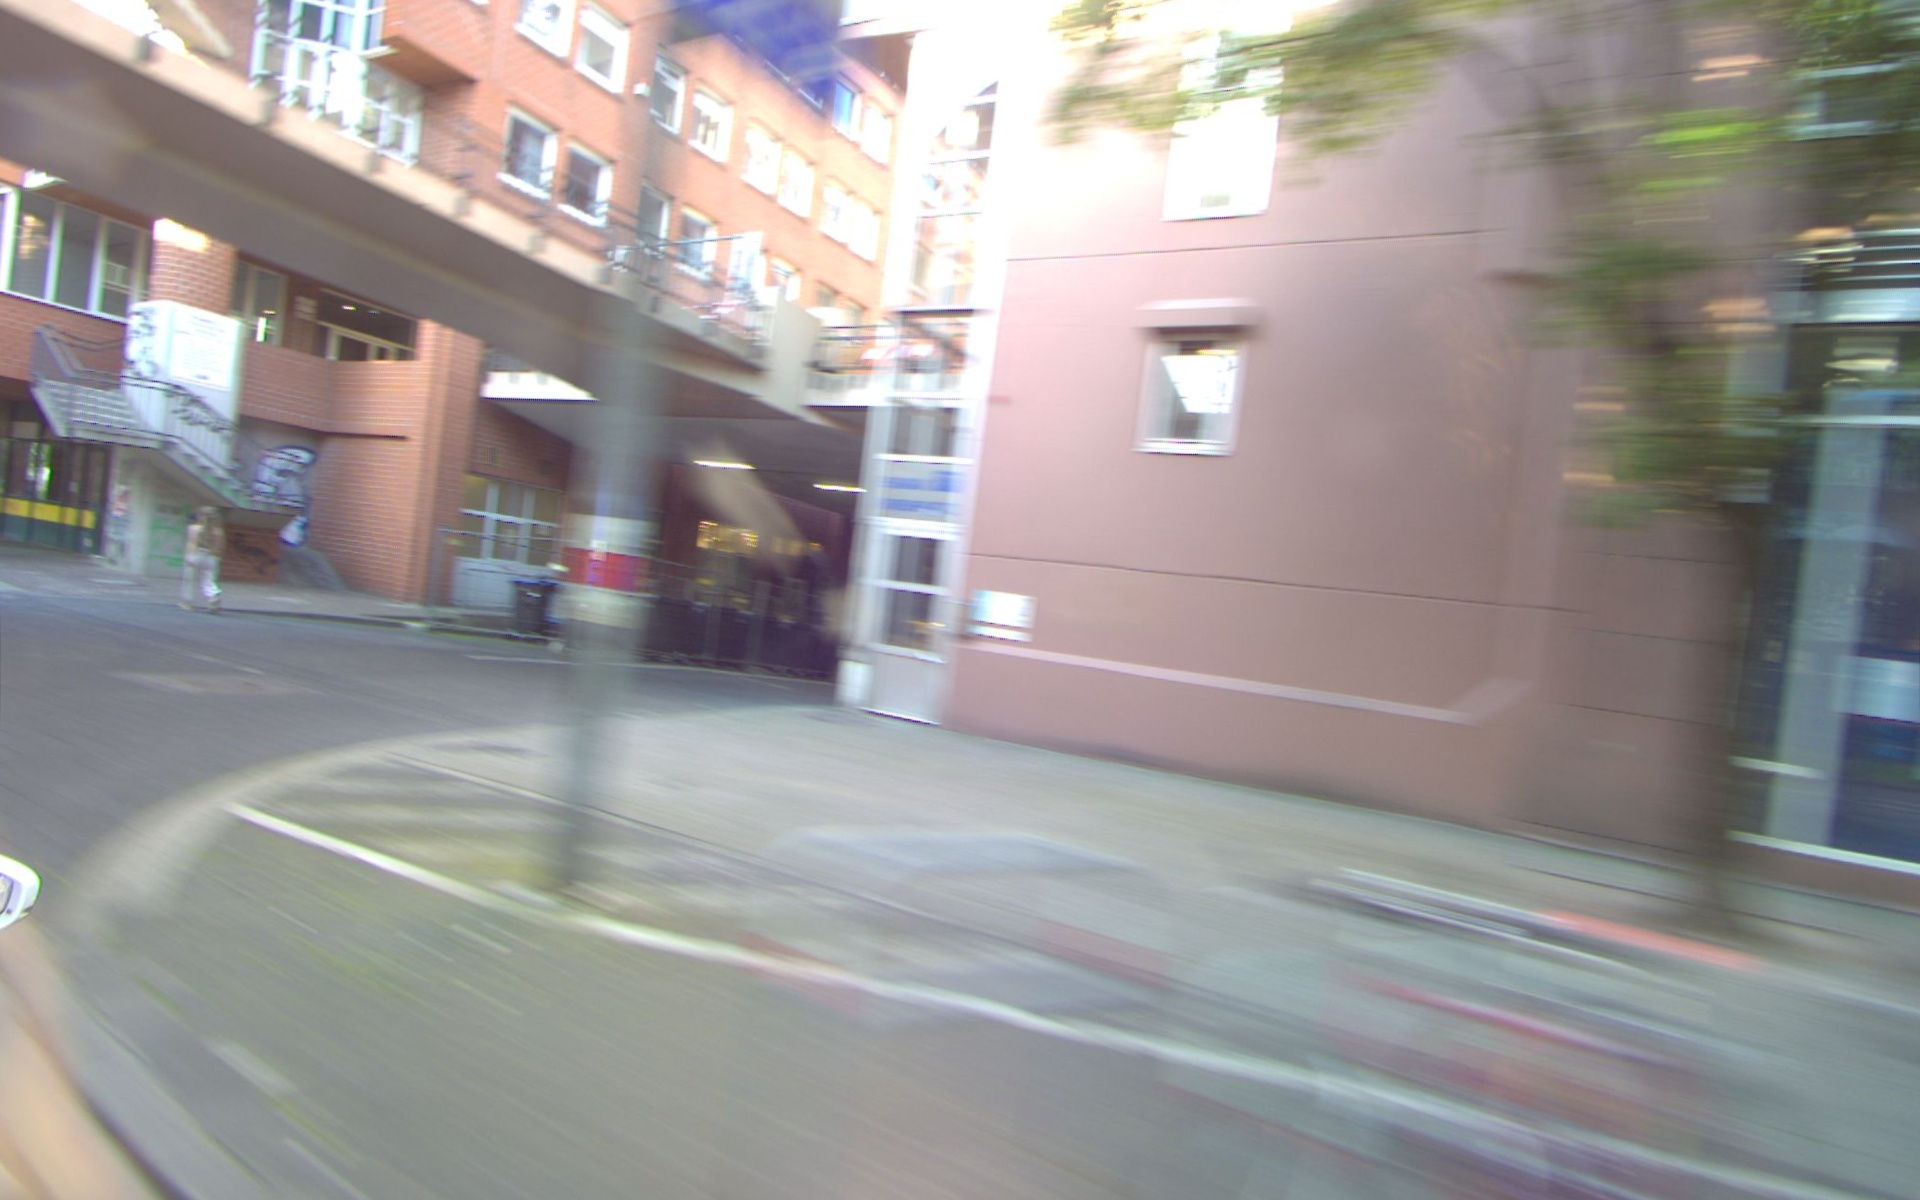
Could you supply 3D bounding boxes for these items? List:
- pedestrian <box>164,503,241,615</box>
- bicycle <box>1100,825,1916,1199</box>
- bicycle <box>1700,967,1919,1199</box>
[{"bbox_3d":[-12.038,-0.649,15.990,0.764,1.653,0.570,7,1,28],"label":"pedestrian"},{"bbox_3d":[1.111,1.054,1.972,1.663,1.080,0.497,8,0,-27],"label":"bicycle"},{"bbox_3d":[1.730,1.130,1.417,1.663,1.080,0.497,8,0,-27],"label":"bicycle"}]
